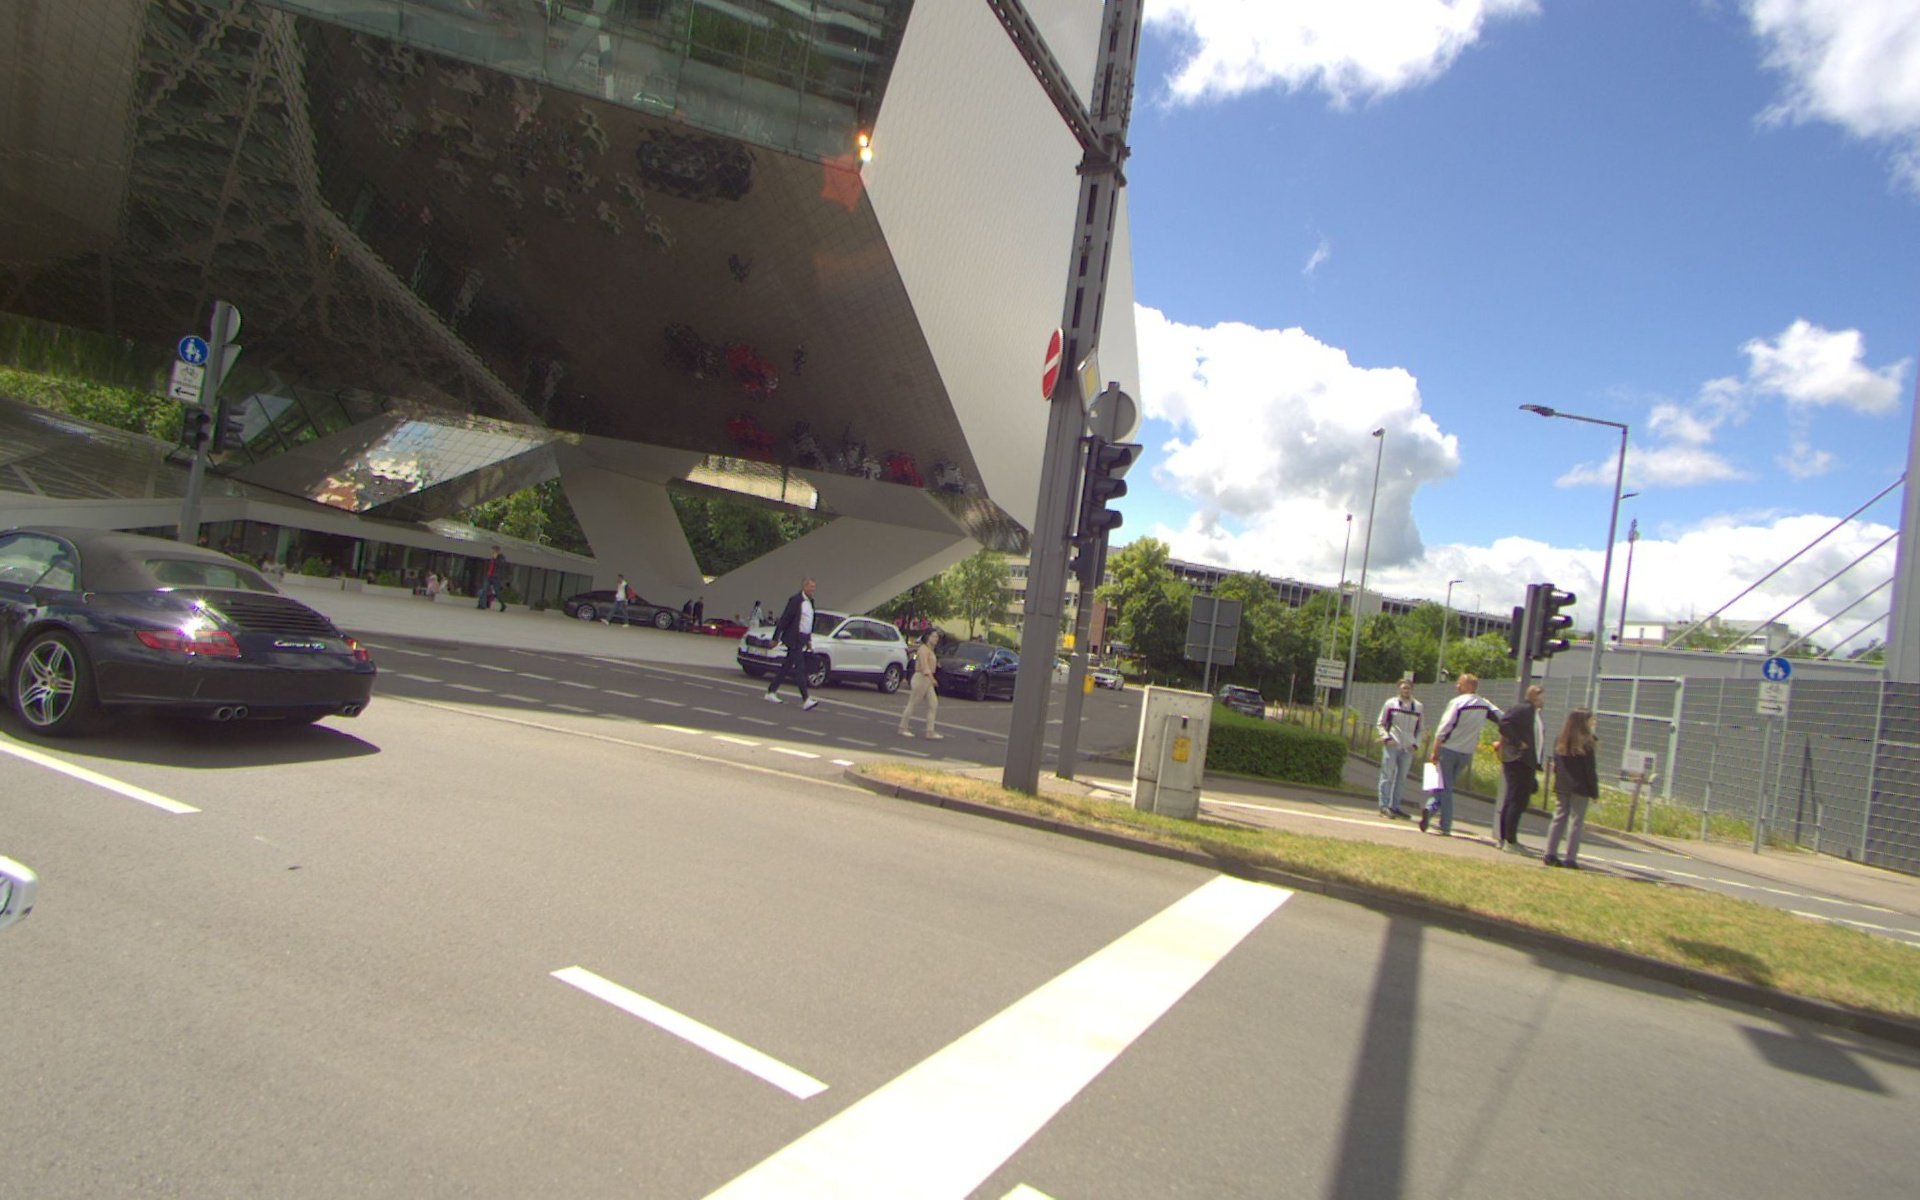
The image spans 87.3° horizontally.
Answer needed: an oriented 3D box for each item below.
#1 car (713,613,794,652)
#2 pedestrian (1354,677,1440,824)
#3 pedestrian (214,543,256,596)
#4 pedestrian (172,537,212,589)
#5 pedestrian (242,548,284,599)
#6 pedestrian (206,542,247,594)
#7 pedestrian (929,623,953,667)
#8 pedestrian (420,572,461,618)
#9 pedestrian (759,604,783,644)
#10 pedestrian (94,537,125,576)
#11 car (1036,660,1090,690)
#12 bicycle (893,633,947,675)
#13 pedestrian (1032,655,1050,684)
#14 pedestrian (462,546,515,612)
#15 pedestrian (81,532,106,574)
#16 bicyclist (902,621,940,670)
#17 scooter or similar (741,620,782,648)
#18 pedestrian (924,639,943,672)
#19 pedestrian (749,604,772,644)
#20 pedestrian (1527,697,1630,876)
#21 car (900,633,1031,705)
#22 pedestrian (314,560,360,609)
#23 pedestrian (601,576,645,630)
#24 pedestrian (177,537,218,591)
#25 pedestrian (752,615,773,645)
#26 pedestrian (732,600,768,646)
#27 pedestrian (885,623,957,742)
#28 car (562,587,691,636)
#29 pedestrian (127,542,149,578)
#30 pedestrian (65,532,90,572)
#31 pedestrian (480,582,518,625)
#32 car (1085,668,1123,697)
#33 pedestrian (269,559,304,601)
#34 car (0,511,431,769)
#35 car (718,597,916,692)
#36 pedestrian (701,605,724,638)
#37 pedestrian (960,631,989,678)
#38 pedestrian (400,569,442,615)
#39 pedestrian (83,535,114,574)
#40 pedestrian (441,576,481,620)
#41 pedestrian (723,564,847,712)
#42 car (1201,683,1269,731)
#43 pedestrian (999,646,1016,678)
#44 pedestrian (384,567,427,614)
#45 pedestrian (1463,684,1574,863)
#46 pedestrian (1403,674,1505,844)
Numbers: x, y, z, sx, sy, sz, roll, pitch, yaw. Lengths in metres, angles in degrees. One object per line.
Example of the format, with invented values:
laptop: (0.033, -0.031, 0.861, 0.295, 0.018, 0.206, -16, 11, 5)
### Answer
car: (-11.618, 1.862, 56.719, 1.973, 1.565, 3.985, 5, -5, 42)
pedestrian: (5.661, 1.939, 13.054, 0.598, 1.778, 0.618, 8, -3, -18)
pedestrian: (-23.902, -1.008, 33.155, 0.916, 1.589, 0.822, 10, -4, -37)
pedestrian: (-25.637, -1.221, 33.602, 0.824, 1.589, 0.915, 10, -3, -36)
pedestrian: (-23.819, -0.909, 34.396, 0.783, 1.589, 0.692, 8, -3, -12)
pedestrian: (-24.793, -1.074, 34.001, 0.916, 1.589, 0.822, 10, -4, -37)
pedestrian: (-0.919, 2.211, 48.982, 0.762, 2.035, 0.829, 7, -3, 8)
pedestrian: (-19.975, -0.187, 38.684, 0.906, 1.589, 0.832, 7, -3, 17)
pedestrian: (-10.105, 1.303, 53.879, 0.762, 2.035, 0.829, 7, -3, 8)
pedestrian: (-29.500, -1.509, 34.917, 0.555, 1.266, 0.472, 9, -3, -24)
car: (9.039, 6.599, 88.568, 4.144, 2.035, 1.998, 9, -3, -11)
bicycle: (-1.488, 2.022, 37.585, 0.770, 1.287, 1.919, 5, -5, 43)
pedestrian: (5.961, 5.139, 74.204, 0.818, 2.035, 0.772, 9, -3, -28)
pedestrian: (-14.335, -0.628, 30.609, 0.906, 1.846, 0.832, 7, -3, 17)
pedestrian: (-27.934, -1.514, 32.427, 0.394, 1.266, 0.395, 6, -3, 37)
bicyclist: (-1.457, 1.715, 37.565, 0.762, 1.671, 0.933, 5, -4, 43)
scooter or similar: (-7.445, 1.272, 37.758, 0.932, 0.849, 1.115, 6, -4, 22)
pedestrian: (-1.711, 3.605, 65.781, 0.762, 2.035, 0.829, 7, -3, 16)
pedestrian: (-10.882, 1.336, 54.865, 0.762, 2.035, 0.829, 7, -3, 8)
pedestrian: (6.277, 1.875, 10.207, 0.664, 1.655, 0.618, 5, -4, 42)
car: (0.250, 1.853, 26.106, 1.805, 1.398, 4.163, 8, -3, 23)
pedestrian: (-22.694, -0.565, 36.659, 0.906, 1.589, 0.832, 7, -3, 17)
pedestrian: (-11.523, 0.116, 34.458, 0.906, 1.694, 0.832, 7, -3, 17)
pedestrian: (-24.803, -1.166, 32.714, 0.825, 1.589, 0.913, 10, -4, -41)
pedestrian: (-12.396, 1.872, 63.150, 0.762, 1.757, 0.829, 7, -3, 11)
pedestrian: (-7.722, 0.843, 36.949, 0.789, 1.557, 0.788, 6, -3, 22)
pedestrian: (-0.544, 1.134, 13.890, 0.758, 1.512, 0.583, 8, -3, -6)
car: (-13.608, 0.503, 41.328, 4.598, 1.233, 2.000, 8, -4, -7)
pedestrian: (-30.406, -1.476, 37.201, 0.471, 1.266, 0.555, 10, -4, -41)
pedestrian: (-30.049, -1.632, 34.256, 0.553, 1.266, 0.395, 6, -3, 37)
pedestrian: (-18.949, 0.142, 41.324, 0.907, 1.589, 0.831, 6, -3, 24)
car: (10.090, 5.753, 70.258, 1.852, 1.660, 4.008, 7, -4, 18)
pedestrian: (-23.114, -0.669, 34.550, 0.635, 1.332, 0.692, 8, -3, -15)
car: (-6.249, 0.160, 7.466, 3.926, 1.340, 1.842, 8, -2, 20)
car: (-2.868, 0.982, 21.008, 1.808, 1.568, 3.993, 6, -2, 32)
pedestrian: (-14.063, 1.224, 57.168, 0.823, 1.757, 0.768, 10, -4, -42)
pedestrian: (0.666, 2.487, 46.182, 0.768, 2.035, 0.823, 9, -3, -25)
pedestrian: (-20.872, -0.300, 38.970, 0.906, 1.589, 0.832, 7, -3, 17)
pedestrian: (-30.185, -1.581, 35.262, 0.555, 1.266, 0.472, 9, -3, -24)
pedestrian: (-19.865, -0.077, 40.029, 0.906, 1.589, 0.832, 7, -3, 17)
pedestrian: (-2.688, 0.574, 15.405, 1.362, 2.007, 0.953, 8, -2, 43)
car: (12.149, 4.699, 44.711, 1.962, 1.720, 4.007, 8, -4, 3)
pedestrian: (3.131, 4.114, 66.419, 0.762, 2.035, 0.829, 7, -3, 8)
pedestrian: (-20.832, -0.363, 37.800, 0.906, 1.589, 0.832, 7, -3, 17)
pedestrian: (6.115, 1.881, 11.034, 0.663, 1.814, 0.618, 8, -3, -17)
pedestrian: (5.836, 1.864, 11.901, 0.663, 1.867, 0.618, 8, -3, -19)
